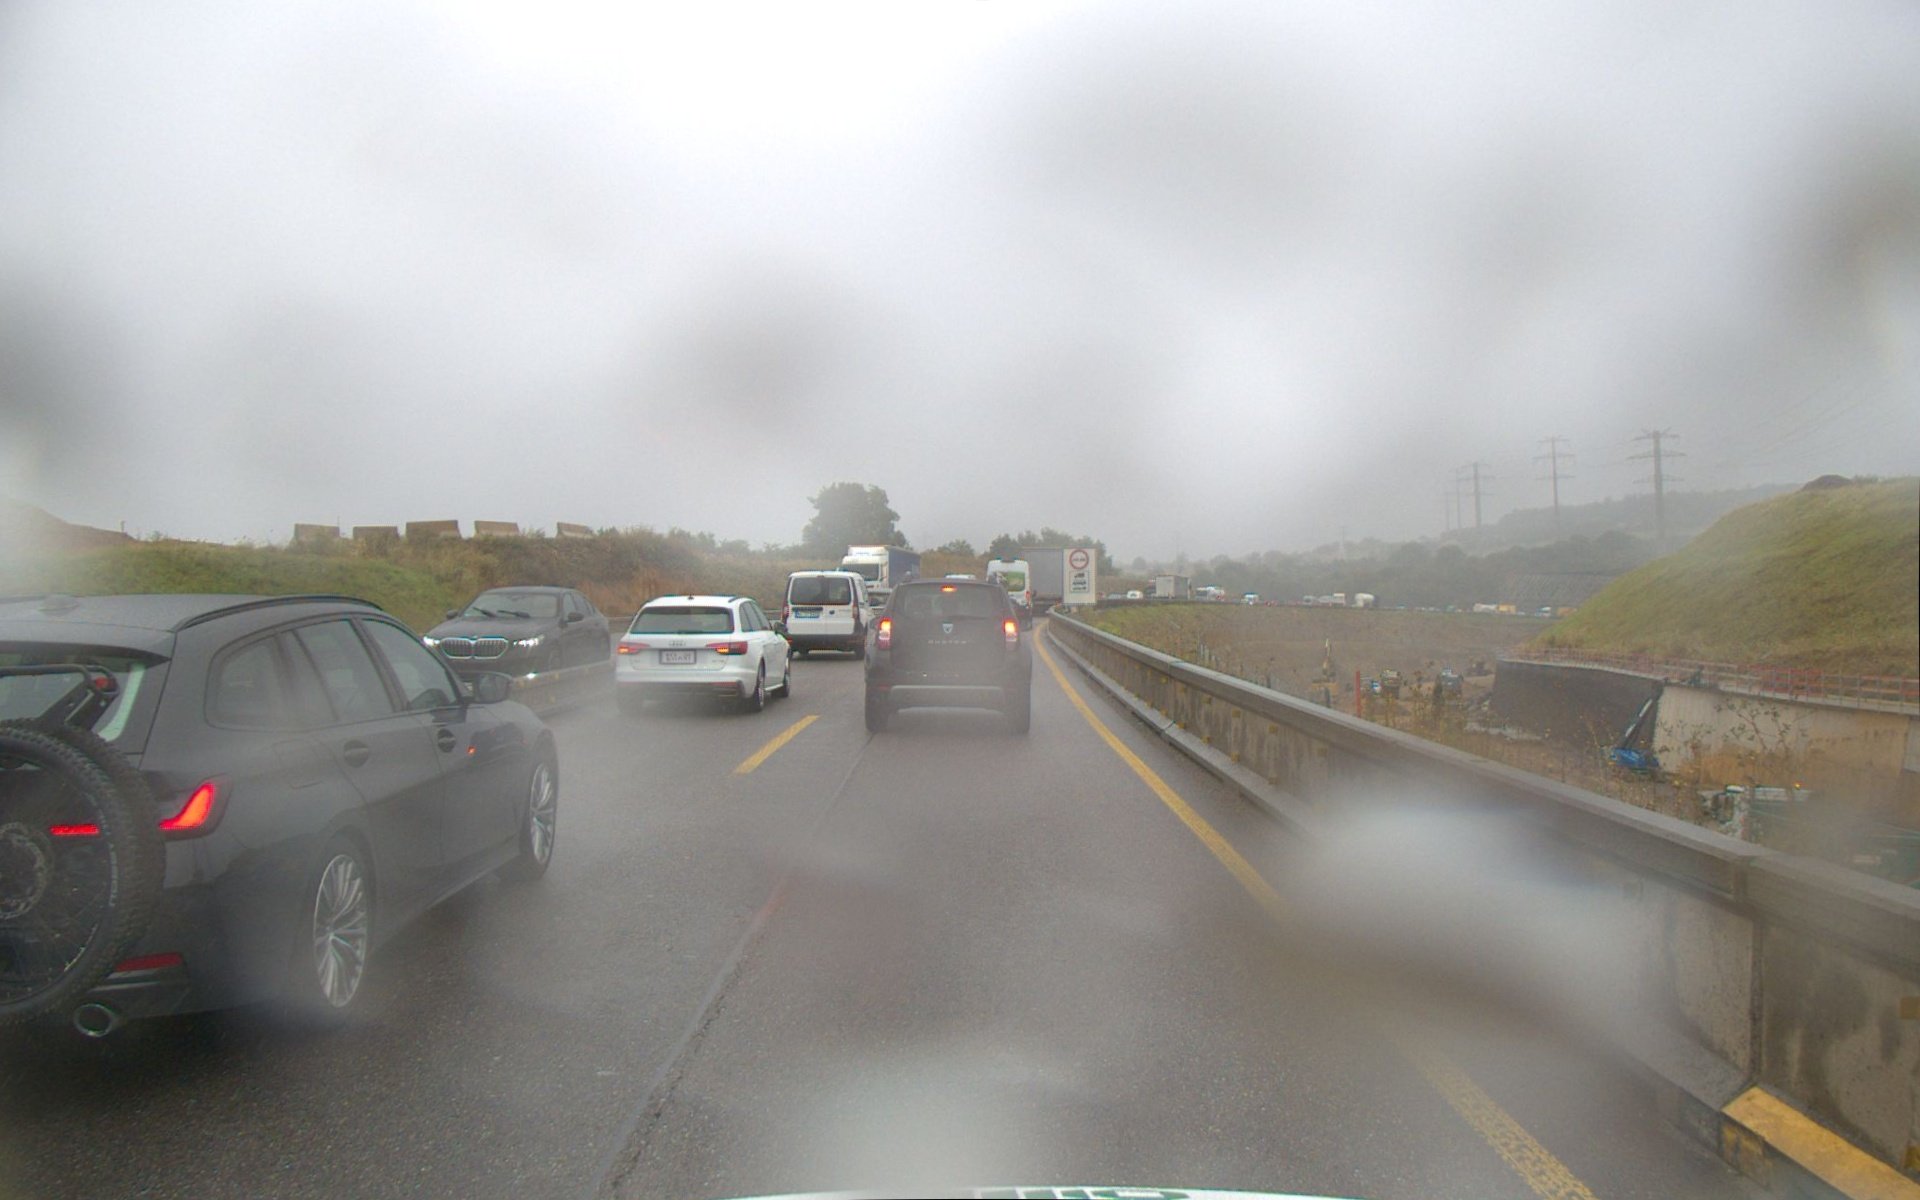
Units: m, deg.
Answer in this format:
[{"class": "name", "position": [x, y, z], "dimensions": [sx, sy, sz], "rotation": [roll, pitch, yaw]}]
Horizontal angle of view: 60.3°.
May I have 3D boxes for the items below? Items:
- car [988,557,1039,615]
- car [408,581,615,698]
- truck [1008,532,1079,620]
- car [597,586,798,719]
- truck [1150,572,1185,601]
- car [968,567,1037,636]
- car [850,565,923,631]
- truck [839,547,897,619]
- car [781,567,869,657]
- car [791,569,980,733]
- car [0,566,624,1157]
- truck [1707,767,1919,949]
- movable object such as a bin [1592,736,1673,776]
[{"class": "car", "position": [2.433, -0.591, 74.258], "dimensions": [1.787, 2.480, 4.161], "rotation": [1, 0, 8]}, {"class": "car", "position": [-6.794, 0.540, 25.609], "dimensions": [1.879, 1.613, 4.894], "rotation": [1, 0, 0]}, {"class": "truck", "position": [5.300, -1.383, 102.860], "dimensions": [3.468, 5.166, 10.449], "rotation": [1, 0, 8]}, {"class": "car", "position": [-3.253, 0.625, 21.260], "dimensions": [1.788, 1.525, 4.001], "rotation": [1, 0, 2]}, {"class": "truck", "position": [27.857, -1.780, 221.722], "dimensions": [3.398, 3.780, 8.423], "rotation": [0, 1, 16]}, {"class": "car", "position": [1.259, 0.056, 47.005], "dimensions": [1.788, 1.847, 4.002], "rotation": [1, 0, 4]}, {"class": "car", "position": [-2.126, -0.053, 48.656], "dimensions": [1.788, 1.847, 4.001], "rotation": [1, 0, 2]}, {"class": "truck", "position": [-5.412, -1.039, 97.964], "dimensions": [2.730, 4.105, 5.823], "rotation": [1, 1, 3]}, {"class": "car", "position": [-2.893, 0.259, 36.037], "dimensions": [1.790, 1.847, 3.997], "rotation": [1, 0, -3]}, {"class": "car", "position": [-0.723, 0.525, 18.652], "dimensions": [1.788, 1.619, 4.001], "rotation": [1, 0, 2]}, {"class": "car", "position": [-2.828, 0.637, 7.170], "dimensions": [1.699, 1.488, 5.629], "rotation": [0, 2, -1]}, {"class": "truck", "position": [23.328, 6.759, 44.889], "dimensions": [2.672, 3.552, 9.070], "rotation": [1, 0, 5]}, {"class": "movable object such as a bin", "position": [37.898, 8.788, 93.266], "dimensions": [1.977, 2.049, 3.792], "rotation": [4, -4, -36]}]
